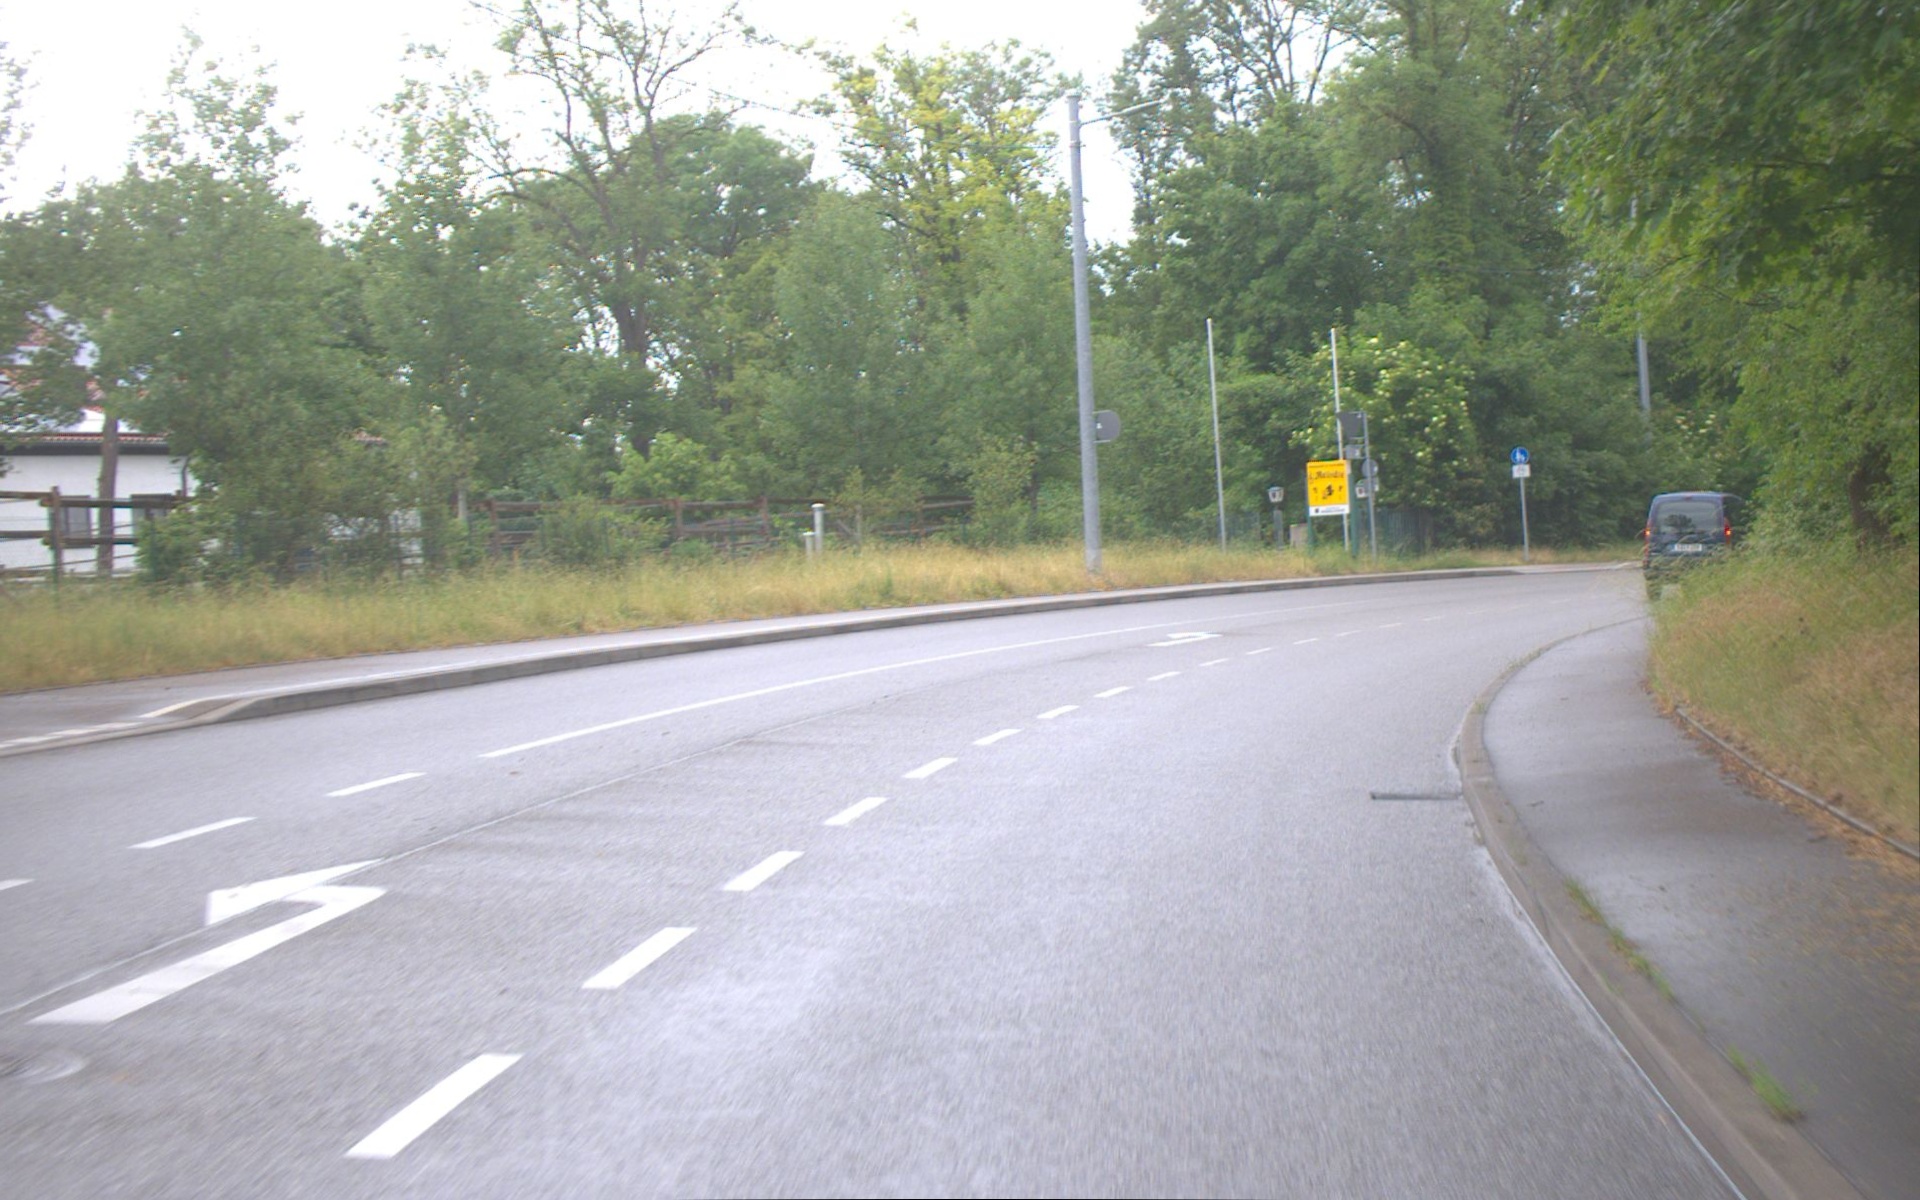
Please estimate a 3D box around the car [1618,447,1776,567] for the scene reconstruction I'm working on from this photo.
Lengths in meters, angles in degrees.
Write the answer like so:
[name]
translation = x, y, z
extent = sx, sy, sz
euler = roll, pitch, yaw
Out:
[car]
translation = 12.887, -1.642, 59.963
extent = 1.829, 1.787, 3.996
euler = -6, 1, 22
